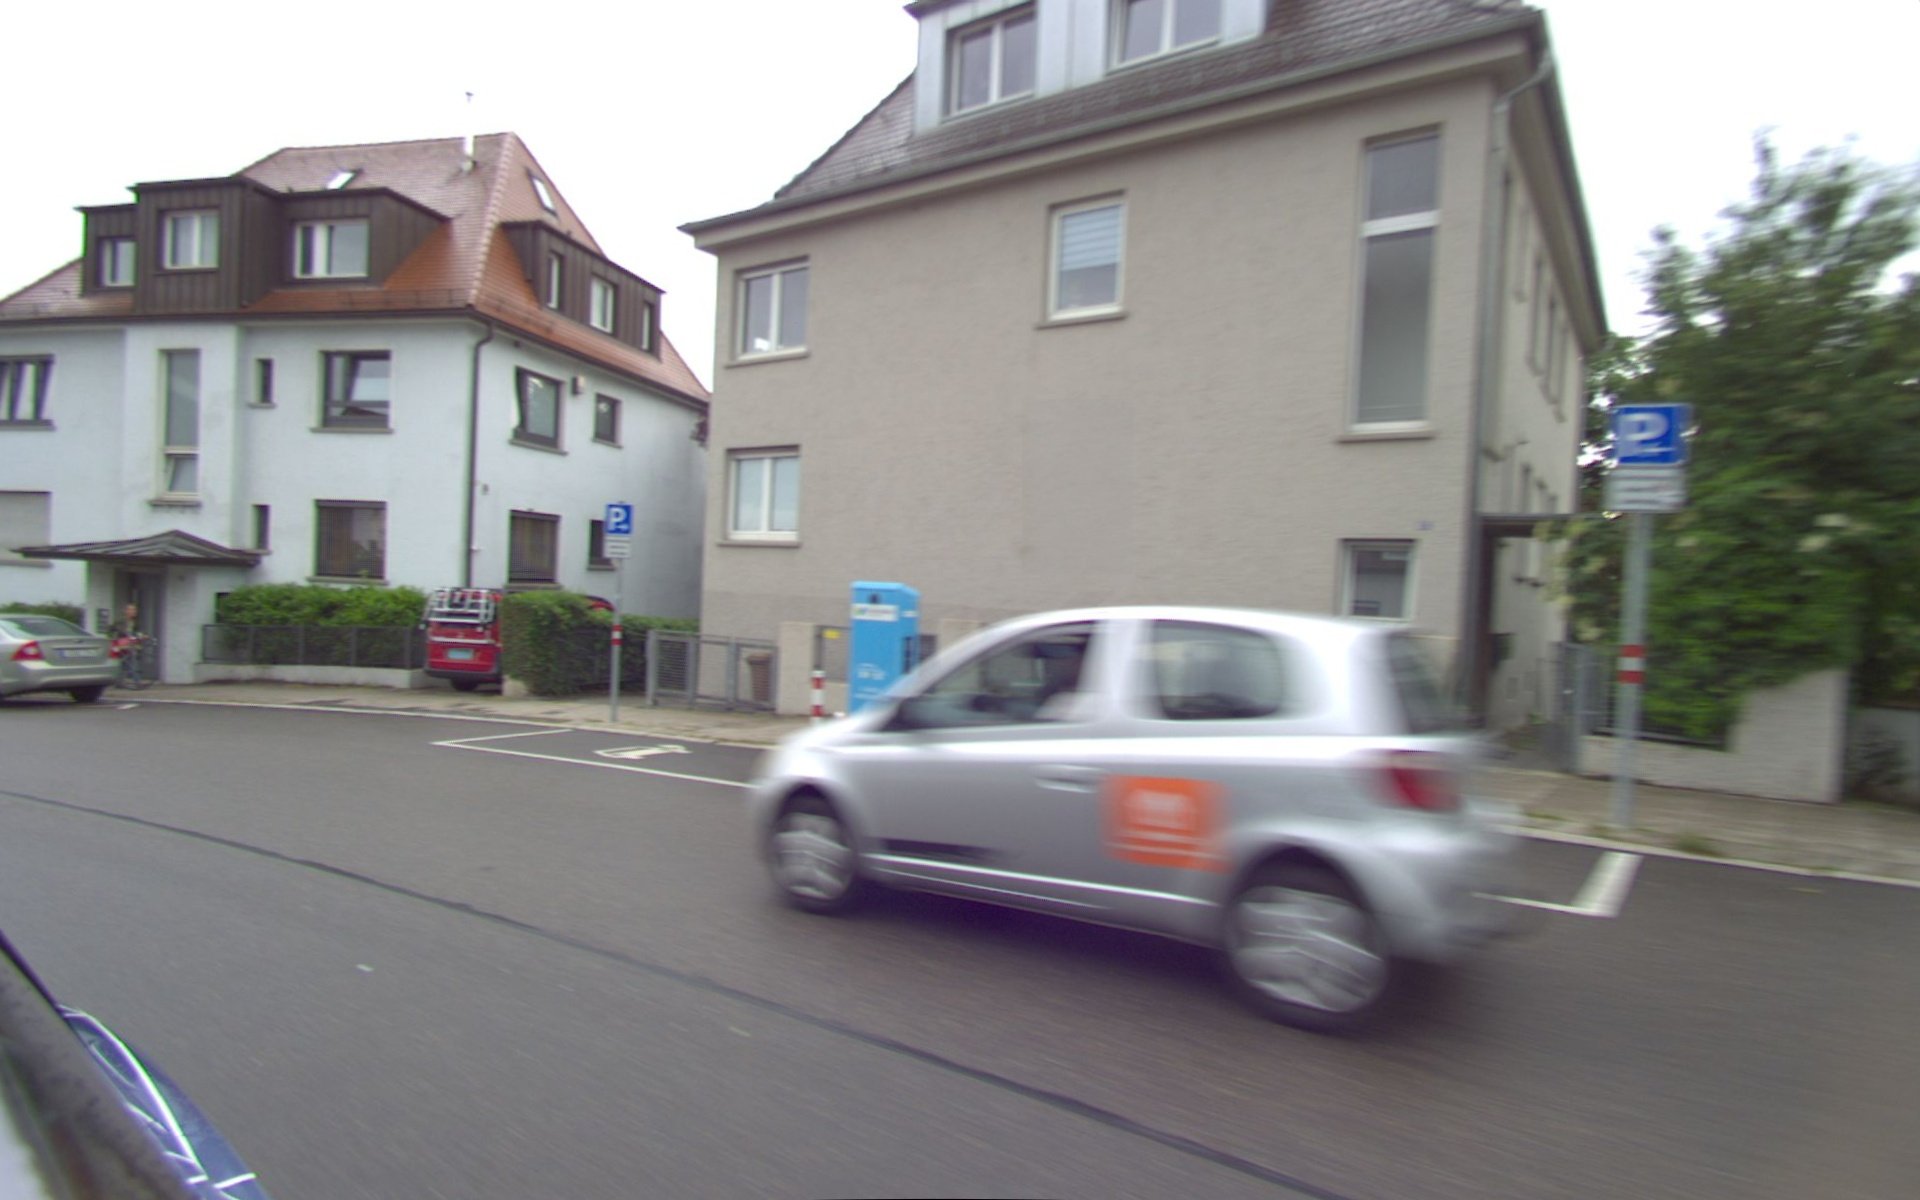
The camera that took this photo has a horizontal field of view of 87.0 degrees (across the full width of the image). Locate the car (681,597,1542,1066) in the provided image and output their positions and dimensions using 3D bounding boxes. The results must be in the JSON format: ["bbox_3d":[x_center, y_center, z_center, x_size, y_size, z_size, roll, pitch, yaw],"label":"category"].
[{"bbox_3d":[0.507,0.736,4.855,3.849,1.434,1.473,0,-2,36],"label":"car"}]

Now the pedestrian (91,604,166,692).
[{"bbox_3d":[-15.669,0.888,19.082,0.491,1.589,0.940,-1,1,24],"label":"pedestrian"}]

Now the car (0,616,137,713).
[{"bbox_3d":[-16.095,1.013,16.623,4.186,1.436,1.835,-1,-1,13],"label":"car"}]

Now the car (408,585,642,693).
[{"bbox_3d":[-8.179,0.799,19.454,1.984,1.837,3.976,-1,-4,18],"label":"car"}]

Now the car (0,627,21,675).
[{"bbox_3d":[-28.011,1.301,27.213,1.718,1.363,3.999,2,-5,0],"label":"car"}]

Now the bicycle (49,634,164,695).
[{"bbox_3d":[-15.660,1.184,18.572,1.900,1.075,0.456,-1,1,9],"label":"bicycle"}]
